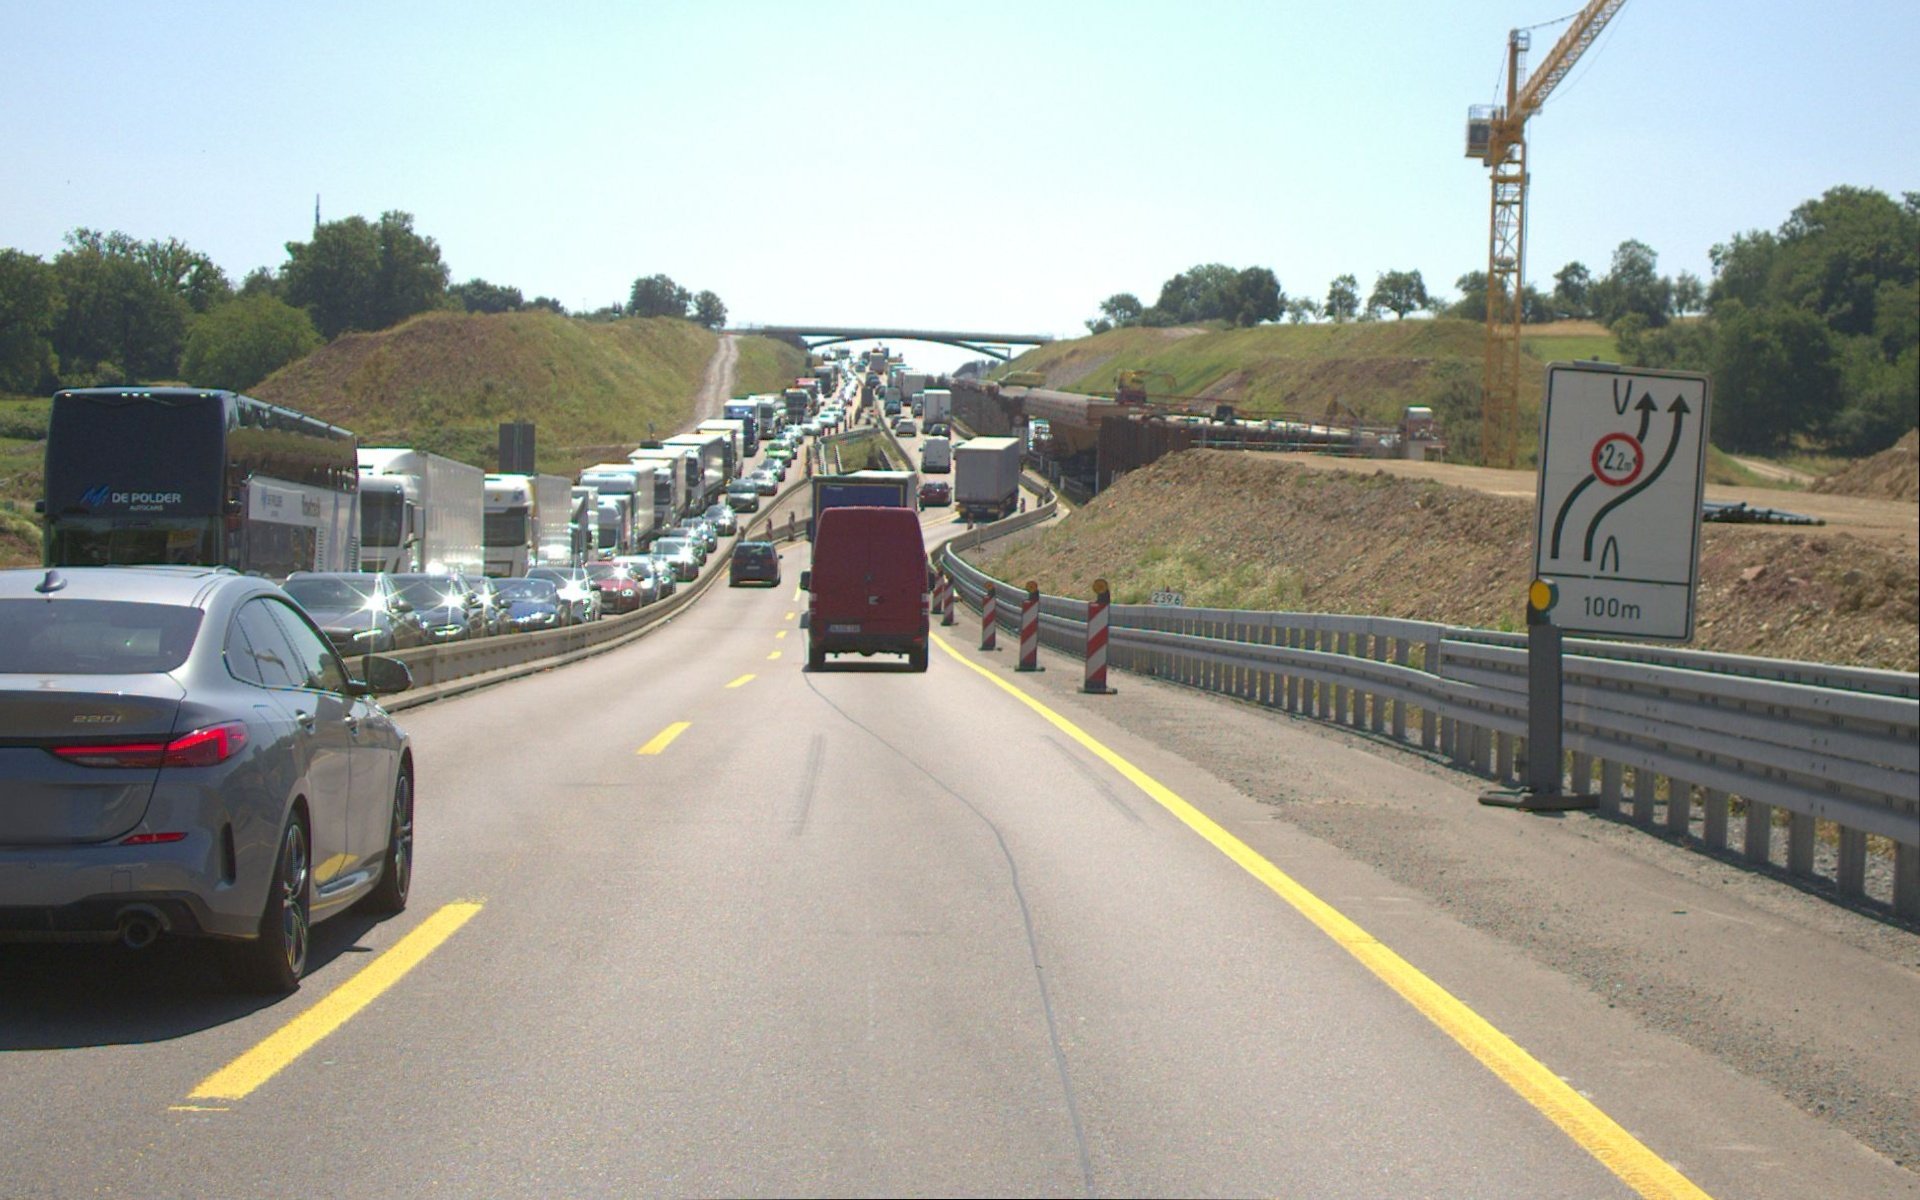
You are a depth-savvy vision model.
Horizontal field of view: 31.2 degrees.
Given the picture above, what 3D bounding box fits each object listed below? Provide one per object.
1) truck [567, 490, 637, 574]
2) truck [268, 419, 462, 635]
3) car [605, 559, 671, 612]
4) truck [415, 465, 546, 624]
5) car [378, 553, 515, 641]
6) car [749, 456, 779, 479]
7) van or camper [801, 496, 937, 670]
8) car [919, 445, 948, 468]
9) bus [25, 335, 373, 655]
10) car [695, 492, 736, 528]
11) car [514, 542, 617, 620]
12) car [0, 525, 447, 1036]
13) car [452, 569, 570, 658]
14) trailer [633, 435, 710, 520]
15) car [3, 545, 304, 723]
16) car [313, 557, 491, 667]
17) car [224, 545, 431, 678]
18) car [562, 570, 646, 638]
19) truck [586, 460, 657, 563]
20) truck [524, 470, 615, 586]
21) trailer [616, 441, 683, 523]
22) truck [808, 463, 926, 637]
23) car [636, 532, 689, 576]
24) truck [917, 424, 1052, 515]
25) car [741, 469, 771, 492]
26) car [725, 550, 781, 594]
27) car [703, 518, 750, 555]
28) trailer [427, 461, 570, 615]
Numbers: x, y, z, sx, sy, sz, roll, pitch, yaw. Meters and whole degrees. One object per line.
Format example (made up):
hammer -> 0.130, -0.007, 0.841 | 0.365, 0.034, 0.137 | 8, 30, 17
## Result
truck -> -14.101, -2.722, 135.759 | 2.433, 3.137, 7.025 | 0, 2, -3
truck -> -12.206, -1.511, 71.057 | 3.097, 4.183, 6.703 | 1, 1, -3
car -> -10.001, -0.440, 106.872 | 1.827, 1.568, 4.000 | 1, 0, -2
truck -> -13.121, -1.536, 94.491 | 2.977, 4.170, 5.875 | 1, 1, -3
car -> -8.662, -0.070, 58.308 | 1.832, 1.418, 4.684 | 1, 0, -3
car -> -13.443, -9.099, 236.392 | 1.952, 1.524, 4.268 | 1, 2, -2
van or camper -> -1.565, -0.332, 57.189 | 2.029, 2.735, 4.516 | 1, 2, -4
car -> -1.967, -10.588, 253.303 | 1.952, 1.635, 4.268 | 1, 2, -2
bus -> -11.454, -1.457, 53.423 | 2.739, 4.249, 14.477 | 1, 0, -2
car -> -12.523, -4.630, 176.214 | 1.993, 1.777, 4.001 | -1, 2, -4
car -> -8.972, -0.452, 78.427 | 1.993, 1.615, 4.883 | 1, 2, -3
car -> -3.129, 0.500, 12.795 | 1.851, 1.447, 4.743 | 2, 2, -2
car -> -8.594, 0.232, 66.087 | 1.812, 1.432, 5.122 | 2, 2, -3
trailer -> -15.934, -6.771, 190.510 | 3.042, 4.536, 12.128 | 1, 2, 1
car -> -7.375, 0.256, 31.902 | 1.859, 1.489, 4.905 | -1, 1, -3
car -> -8.090, 0.133, 50.271 | 1.918, 1.418, 5.091 | 2, 1, -2
car -> -7.820, 0.097, 42.894 | 1.838, 1.438, 4.931 | 1, 2, -2
car -> -9.781, 0.084, 94.790 | 1.993, 1.625, 4.759 | 2, 2, -3
truck -> -14.312, -3.793, 145.672 | 2.550, 4.216, 6.531 | 1, 2, -2
truck -> -13.599, -2.540, 120.193 | 2.524, 3.842, 8.672 | 1, 1, -3
trailer -> -15.759, -5.949, 174.925 | 2.783, 3.918, 11.010 | 1, 1, -2
truck -> -2.543, -1.458, 96.022 | 3.020, 4.676, 6.933 | -1, 2, 0
car -> -11.594, -1.786, 134.120 | 1.827, 1.645, 4.547 | 2, 0, -3
truck -> 1.538, -7.502, 199.555 | 5.163, 4.979, 13.870 | 2, 2, 11
car -> -12.893, -7.560, 217.608 | 1.747, 1.404, 4.001 | 1, 2, -2
car -> -7.807, -1.066, 129.732 | 2.011, 1.539, 4.133 | 1, 2, -3
car -> -9.855, -2.710, 145.343 | 1.827, 1.530, 4.547 | -1, 1, -2
trailer -> -13.496, -1.827, 101.541 | 2.985, 4.194, 13.948 | 1, 1, -3
